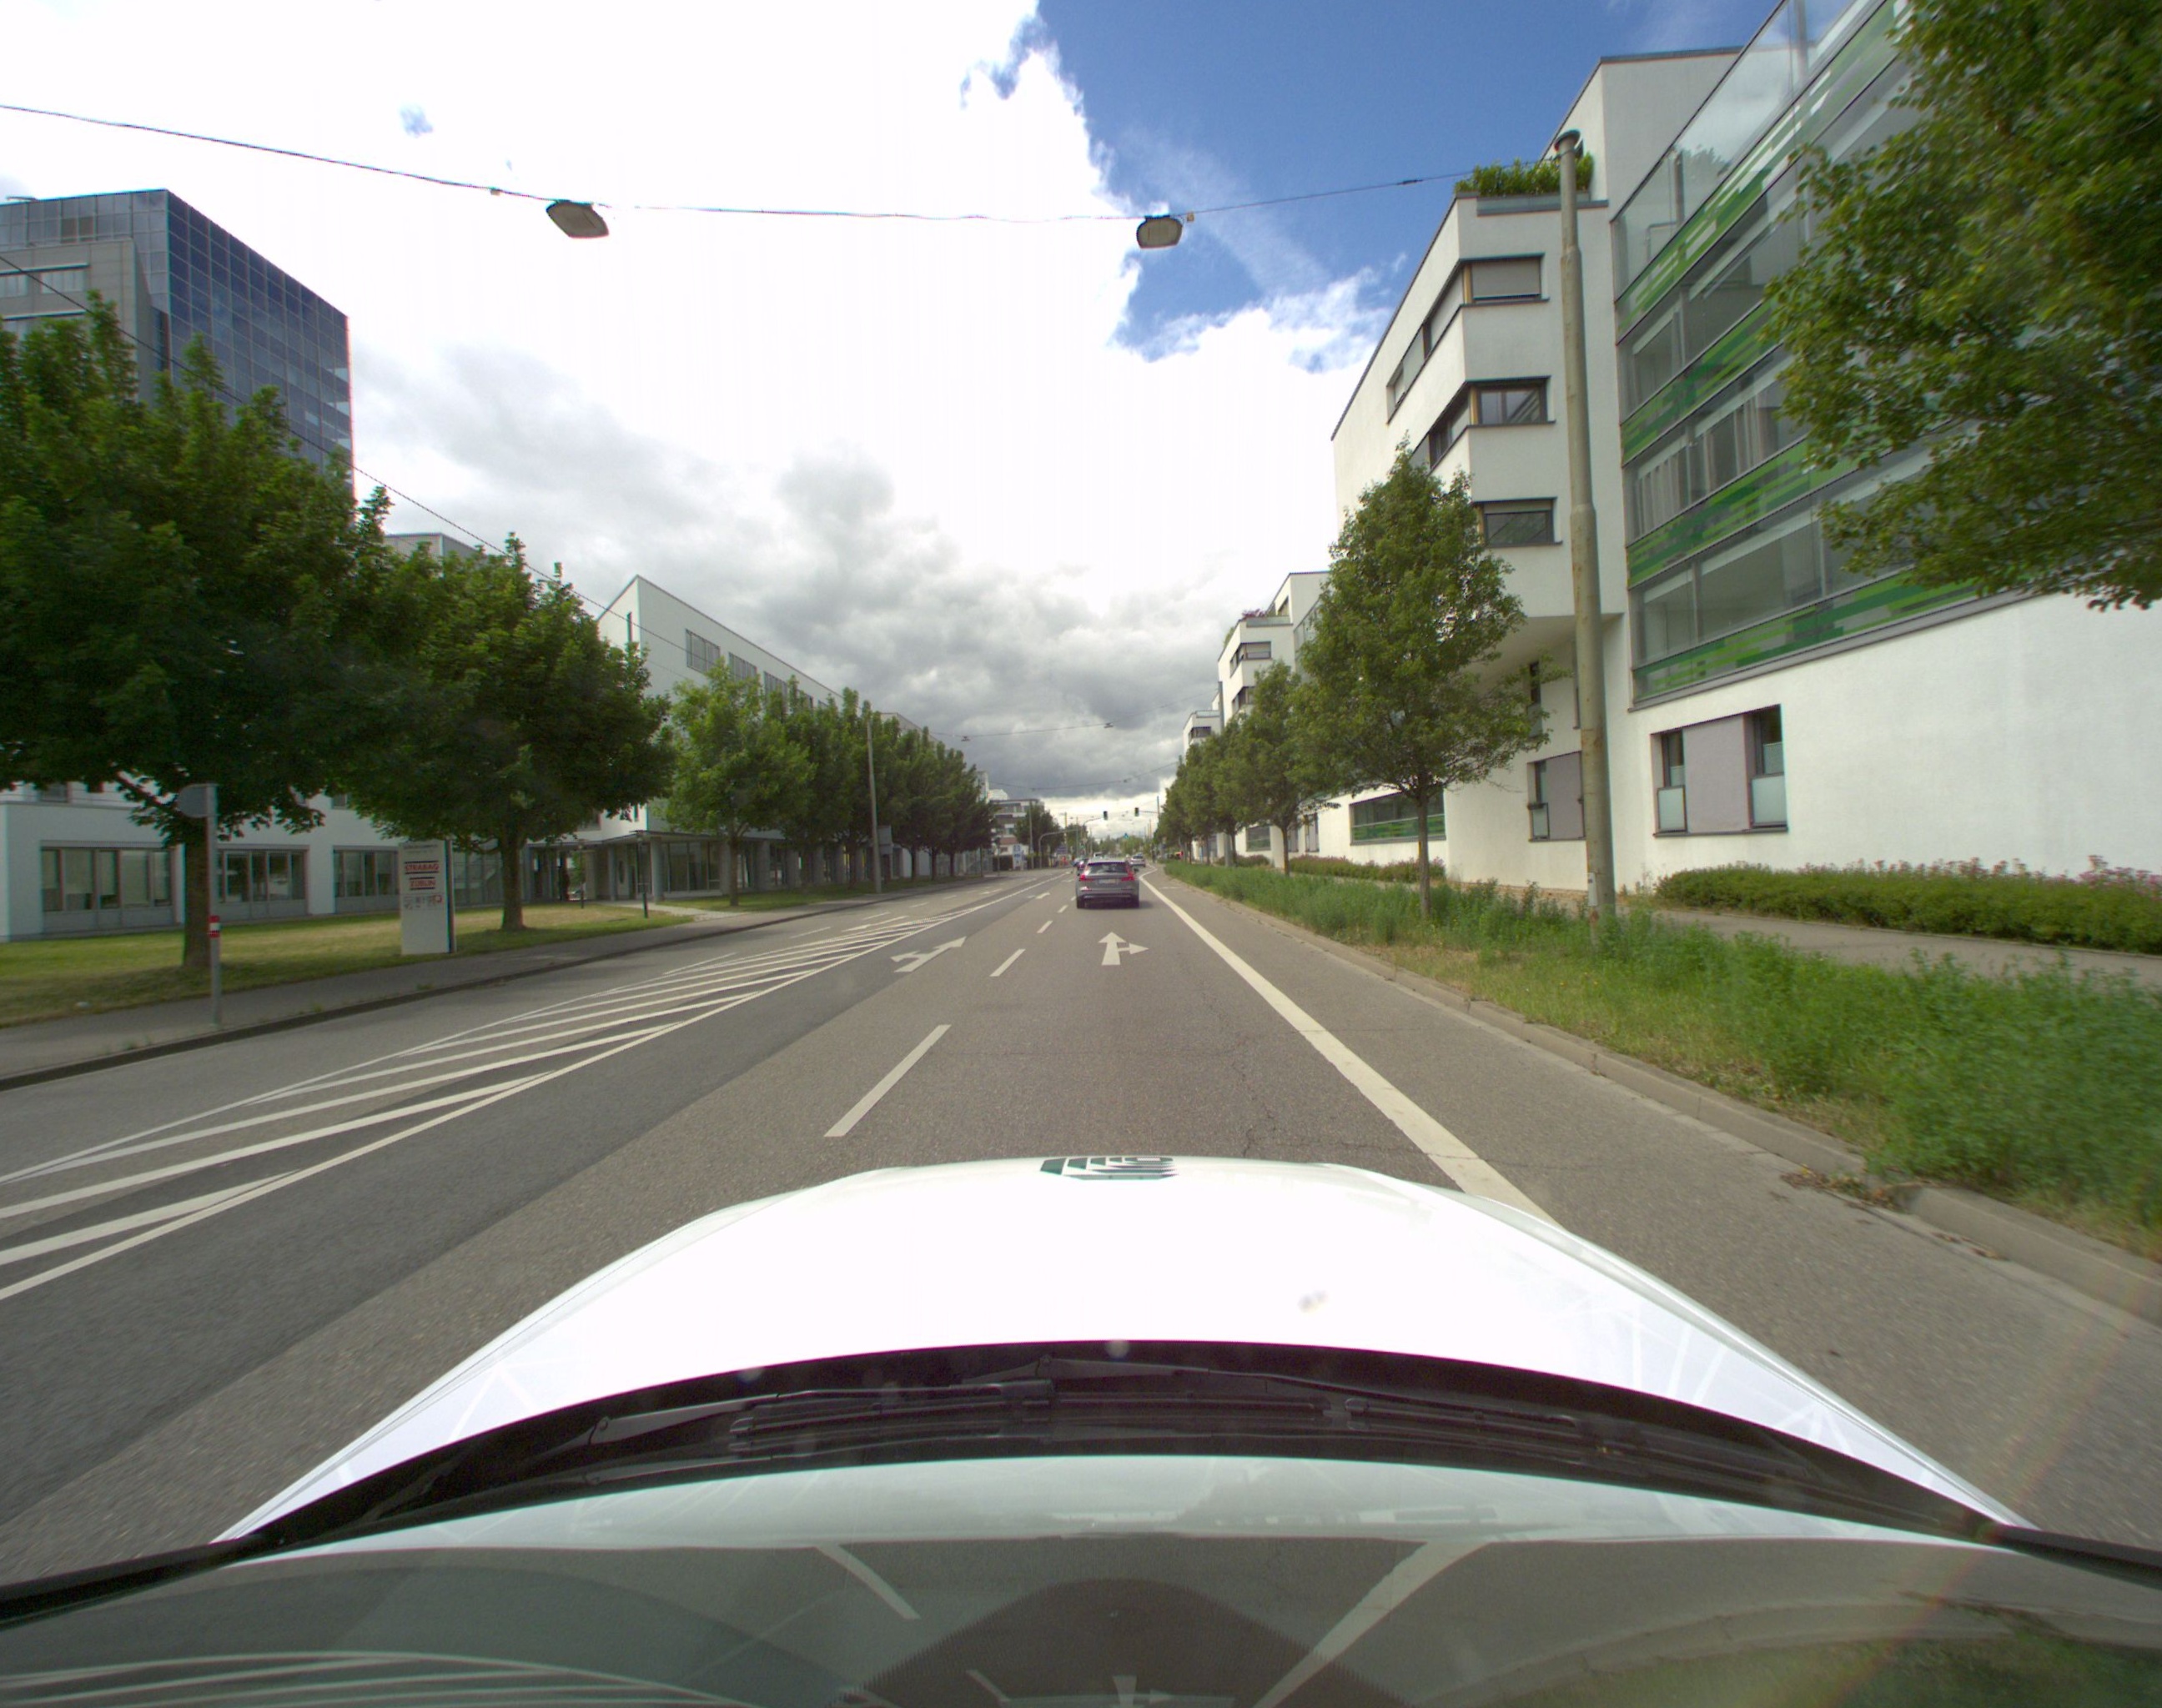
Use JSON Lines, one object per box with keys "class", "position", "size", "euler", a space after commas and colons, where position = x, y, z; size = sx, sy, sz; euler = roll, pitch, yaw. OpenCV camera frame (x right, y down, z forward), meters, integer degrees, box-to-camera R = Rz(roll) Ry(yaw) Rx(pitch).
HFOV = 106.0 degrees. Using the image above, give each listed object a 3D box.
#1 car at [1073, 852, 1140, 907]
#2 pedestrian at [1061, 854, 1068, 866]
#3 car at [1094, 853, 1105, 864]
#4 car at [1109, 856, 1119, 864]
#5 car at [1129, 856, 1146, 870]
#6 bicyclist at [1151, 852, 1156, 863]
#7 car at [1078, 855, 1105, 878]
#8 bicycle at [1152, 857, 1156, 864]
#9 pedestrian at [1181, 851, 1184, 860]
{"class": "car", "position": [0.862, 0.765, 25.135], "size": [1.887, 1.554, 4.004], "euler": [0, -1, 4]}
{"class": "pedestrian", "position": [-2.740, 1.049, 136.452], "size": [0.815, 2.014, 0.717], "euler": [1, -2, -44]}
{"class": "car", "position": [4.255, 1.012, 189.496], "size": [2.133, 2.471, 6.080], "euler": [-4, -1, 4]}
{"class": "car", "position": [7.221, 1.359, 177.553], "size": [1.875, 1.552, 4.547], "euler": [-4, -1, 6]}
{"class": "car", "position": [6.727, 1.089, 96.726], "size": [1.985, 1.695, 4.003], "euler": [0, -1, 3]}
{"class": "bicyclist", "position": [11.980, 0.536, 134.450], "size": [0.635, 1.675, 0.891], "euler": [-6, -1, 4]}
{"class": "car", "position": [0.843, 0.992, 63.383], "size": [1.986, 1.717, 4.001], "euler": [0, -1, 1]}
{"class": "bicycle", "position": [12.018, 1.071, 134.163], "size": [0.635, 1.063, 1.979], "euler": [-6, -1, 4]}
{"class": "pedestrian", "position": [19.232, 0.292, 153.880], "size": [0.503, 1.765, 0.503], "euler": [-1, -1, 20]}
